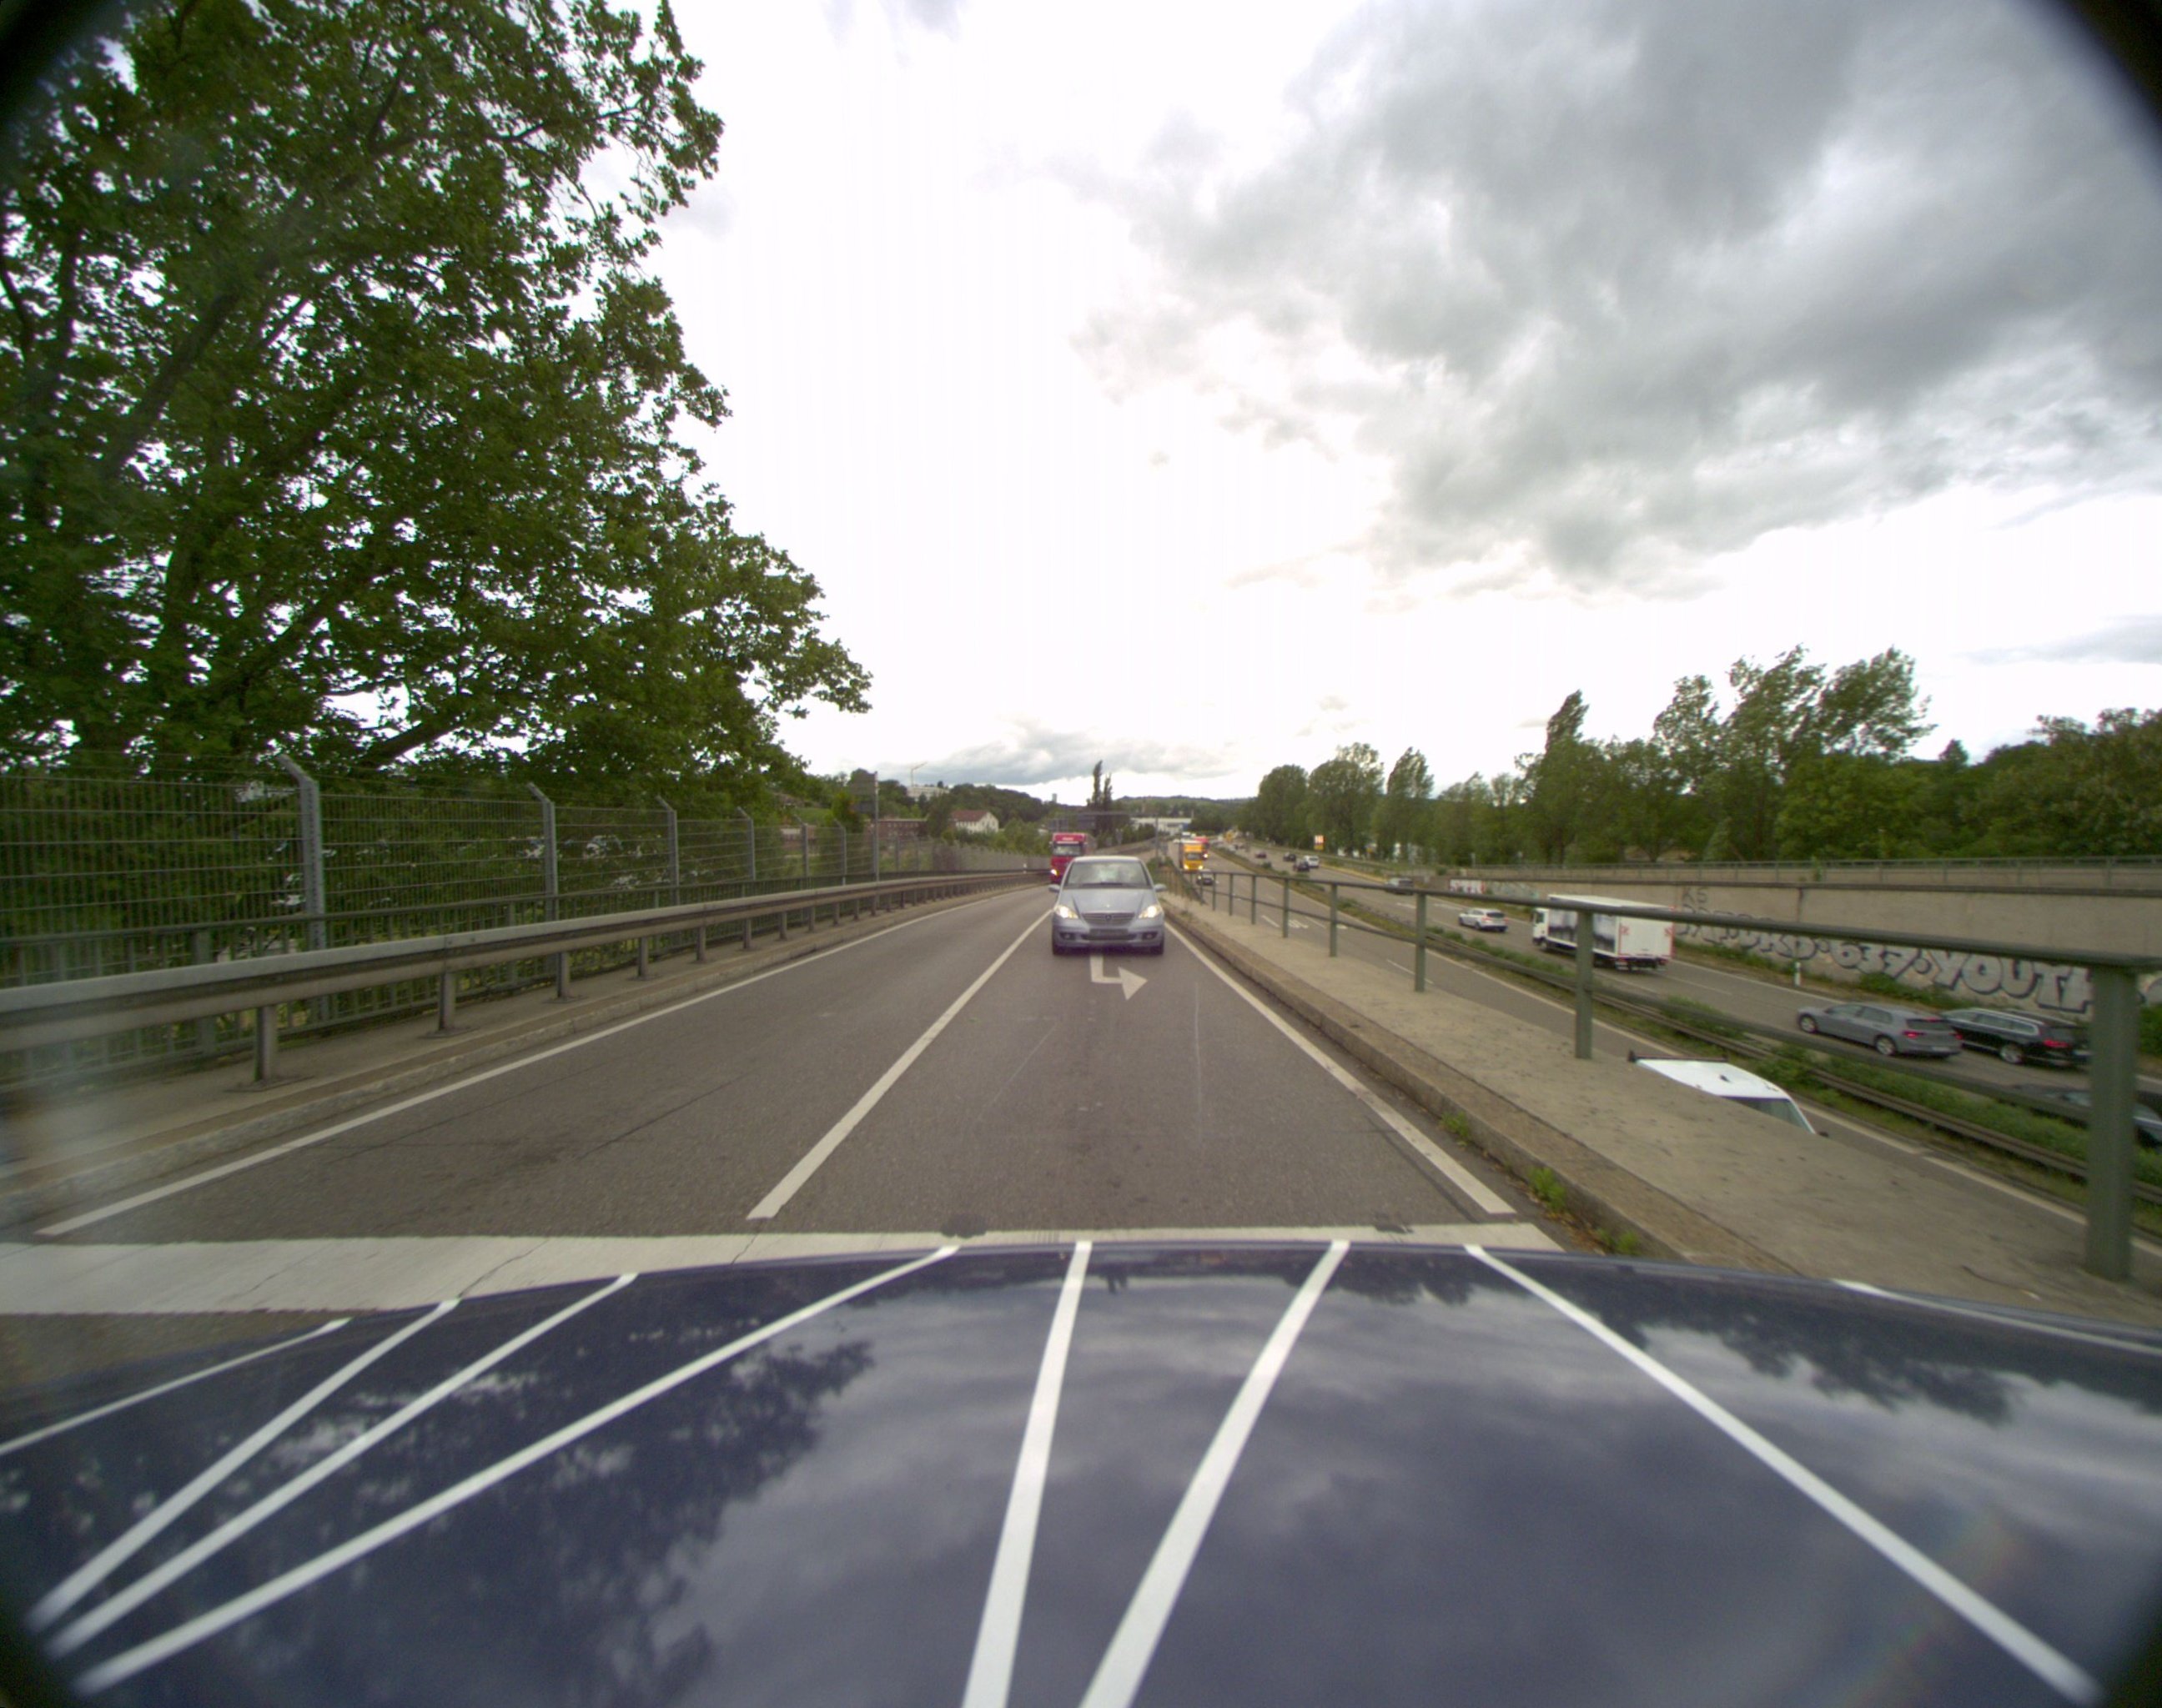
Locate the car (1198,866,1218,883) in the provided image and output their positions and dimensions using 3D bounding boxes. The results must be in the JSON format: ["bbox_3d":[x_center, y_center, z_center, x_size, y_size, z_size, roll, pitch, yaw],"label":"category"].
[{"bbox_3d":[14.353,2.277,85.895,1.878,1.688,3.841,1,2,6],"label":"car"}]

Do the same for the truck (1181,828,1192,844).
[{"bbox_3d":[35.685,-6.191,257.421,3.375,4.927,13.938,0,3,6],"label":"truck"}]

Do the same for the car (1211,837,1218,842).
[{"bbox_3d":[43.545,-4.730,247.792,1.998,1.707,3.640,2,1,5],"label":"car"}]

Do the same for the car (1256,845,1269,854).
[{"bbox_3d":[36.176,-0.827,151.560,1.997,1.707,3.641,2,1,6],"label":"car"}]

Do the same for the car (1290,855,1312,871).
[{"bbox_3d":[32.128,1.271,110.886,2.223,2.003,4.640,1,4,5],"label":"car"}]

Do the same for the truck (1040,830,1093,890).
[{"bbox_3d":[-0.979,0.420,58.933,3.668,4.296,7.237,-1,0,2],"label":"truck"}]

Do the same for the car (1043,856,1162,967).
[{"bbox_3d":[0.390,0.866,13.159,1.747,1.594,3.683,-1,0,2],"label":"car"}]

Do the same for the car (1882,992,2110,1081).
[{"bbox_3d":[29.449,5.814,24.737,2.136,1.557,4.424,1,3,4],"label":"car"}]

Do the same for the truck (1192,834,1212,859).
[{"bbox_3d":[22.387,-1.492,141.302,2.887,4.332,13.258,0,3,6],"label":"truck"}]

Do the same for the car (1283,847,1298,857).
[{"bbox_3d":[38.367,-0.385,139.062,1.997,1.758,3.484,2,1,6],"label":"car"}]

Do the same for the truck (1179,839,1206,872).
[{"bbox_3d":[15.634,0.069,107.110,2.899,4.161,10.024,2,2,5],"label":"truck"}]

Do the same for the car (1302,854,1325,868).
[{"bbox_3d":[36.617,1.112,119.989,2.595,2.002,4.642,1,2,6],"label":"car"}]

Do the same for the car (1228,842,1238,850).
[{"bbox_3d":[37.015,-1.917,184.625,1.997,1.707,3.641,2,1,6],"label":"car"}]

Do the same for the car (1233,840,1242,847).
[{"bbox_3d":[42.411,-2.909,205.706,1.997,1.707,3.641,2,1,6],"label":"car"}]

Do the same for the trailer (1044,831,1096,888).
[{"bbox_3d":[-0.708,0.406,64.943,3.668,4.296,13.784,-1,0,2],"label":"trailer"}]

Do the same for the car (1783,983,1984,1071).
[{"bbox_3d":[26.721,5.692,25.590,2.136,1.708,4.424,1,3,4],"label":"car"}]

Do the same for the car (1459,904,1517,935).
[{"bbox_3d":[28.199,4.512,52.800,1.998,1.609,4.329,2,2,5],"label":"car"}]

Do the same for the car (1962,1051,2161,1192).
[{"bbox_3d":[23.571,5.990,17.057,2.334,1.707,4.732,-2,3,6],"label":"car"}]

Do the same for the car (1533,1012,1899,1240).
[{"bbox_3d":[12.769,5.330,16.247,2.351,2.219,6.553,1,3,2],"label":"car"}]

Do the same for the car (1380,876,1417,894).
[{"bbox_3d":[32.747,3.179,78.497,1.998,1.609,4.328,1,2,2],"label":"car"}]

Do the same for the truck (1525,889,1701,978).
[{"bbox_3d":[27.876,4.003,40.494,3.592,3.437,8.238,2,2,2],"label":"truck"}]
